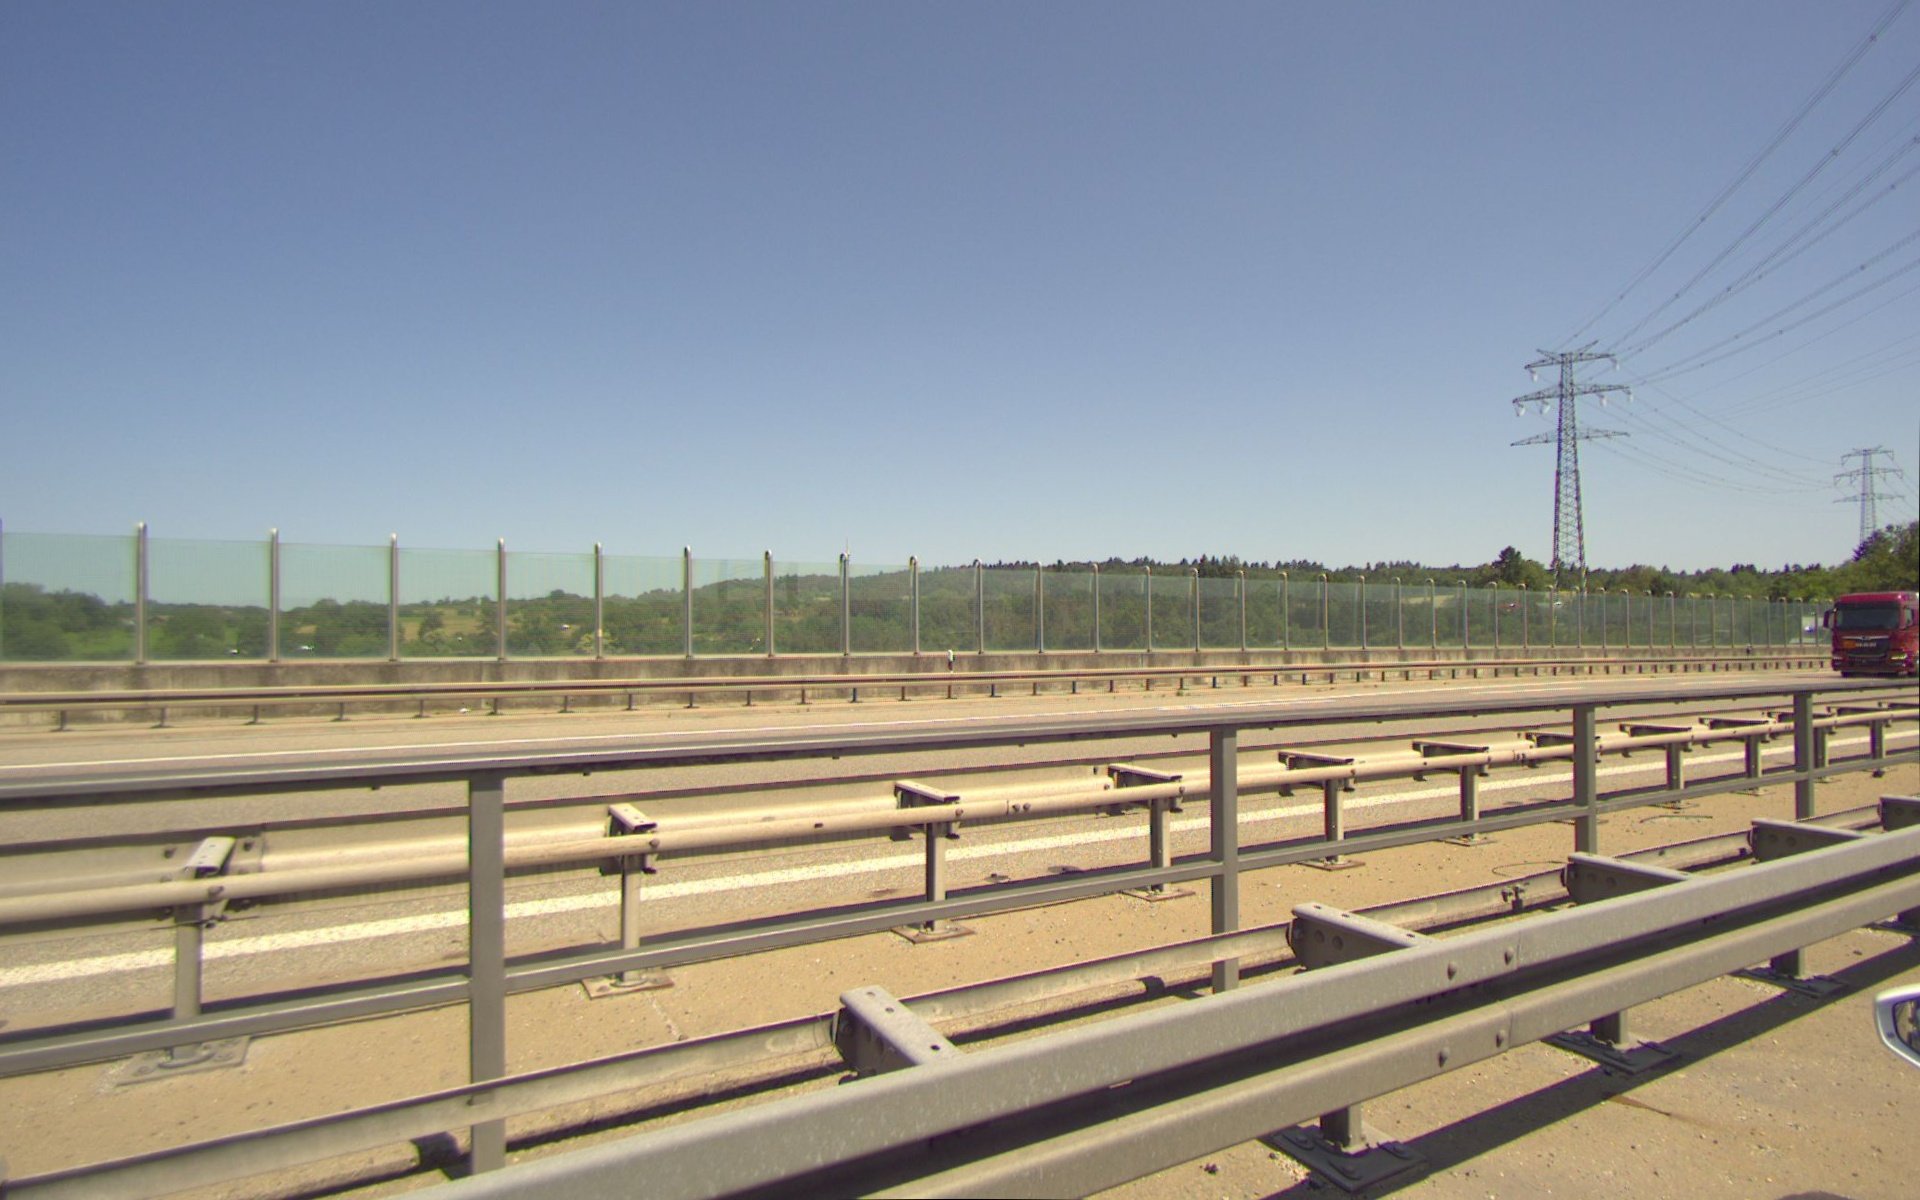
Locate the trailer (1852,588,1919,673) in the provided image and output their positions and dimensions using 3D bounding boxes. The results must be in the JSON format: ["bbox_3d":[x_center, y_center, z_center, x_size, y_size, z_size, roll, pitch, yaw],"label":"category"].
[{"bbox_3d":[43.010,1.389,43.877,11.932,3.387,2.469,1,-3,-31],"label":"trailer"}]

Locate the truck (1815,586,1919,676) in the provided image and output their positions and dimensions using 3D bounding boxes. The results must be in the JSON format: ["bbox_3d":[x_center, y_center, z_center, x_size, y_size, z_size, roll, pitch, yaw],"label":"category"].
[{"bbox_3d":[37.315,1.278,40.493,5.766,3.409,2.486,1,-3,-31],"label":"truck"}]
